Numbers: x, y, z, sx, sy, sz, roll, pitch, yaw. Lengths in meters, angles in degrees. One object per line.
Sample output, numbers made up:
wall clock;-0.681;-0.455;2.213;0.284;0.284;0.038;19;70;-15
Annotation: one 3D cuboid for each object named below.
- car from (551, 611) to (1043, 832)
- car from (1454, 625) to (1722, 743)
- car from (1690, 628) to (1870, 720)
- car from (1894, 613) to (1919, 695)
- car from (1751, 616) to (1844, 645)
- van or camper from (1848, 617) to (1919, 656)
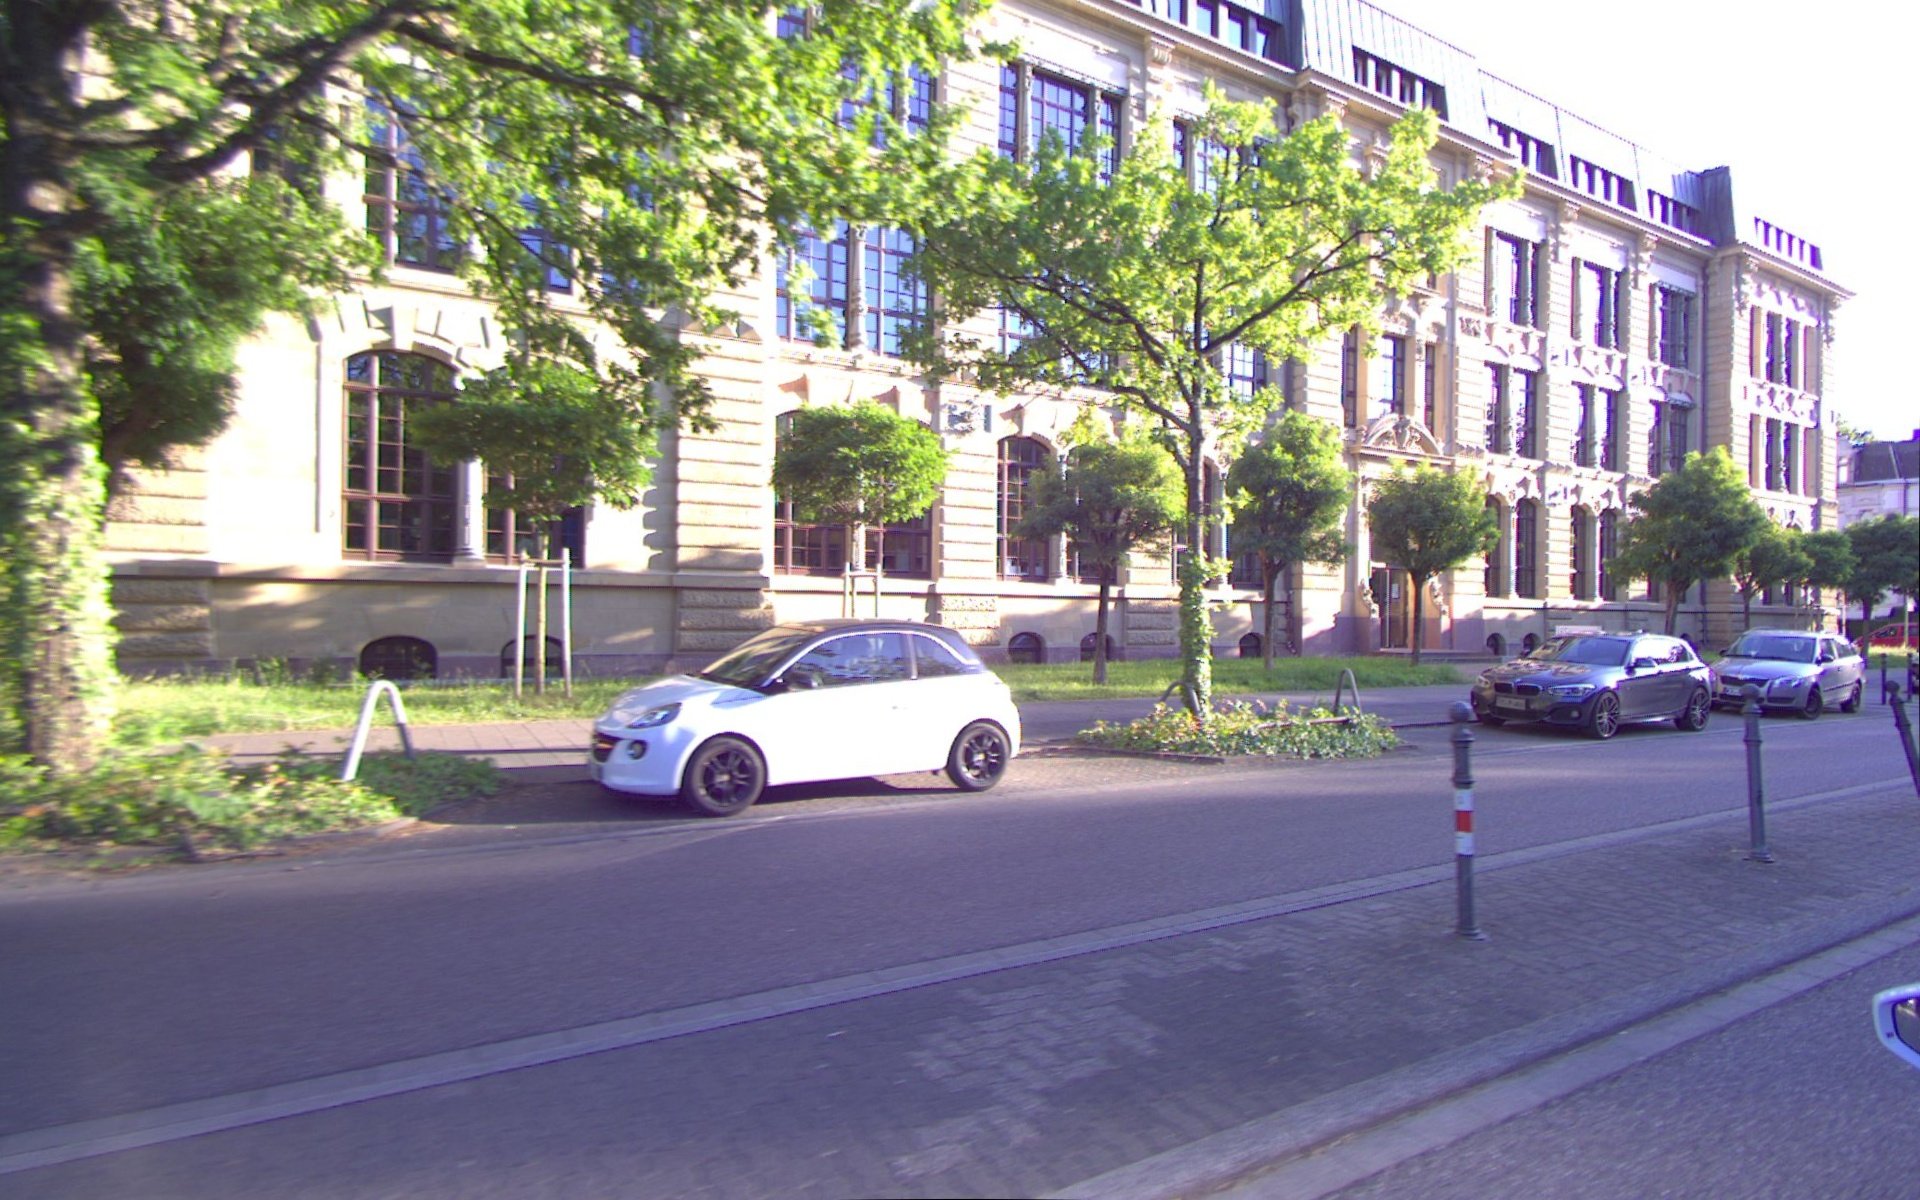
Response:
car;-1.327;0.880;8.652;3.879;1.516;1.609;1;0;-31
car;9.409;1.152;14.948;4.327;1.516;1.609;1;0;-31
car;15.484;1.299;18.898;4.338;1.516;1.706;1;0;-38
car;24.393;1.301;24.050;4.282;1.891;1.768;1;2;-31
car;50.908;1.833;61.121;1.898;1.696;3.968;1;-1;-30
van or camper;53.374;2.037;56.508;1.975;2.013;4.749;-4;1;-28
